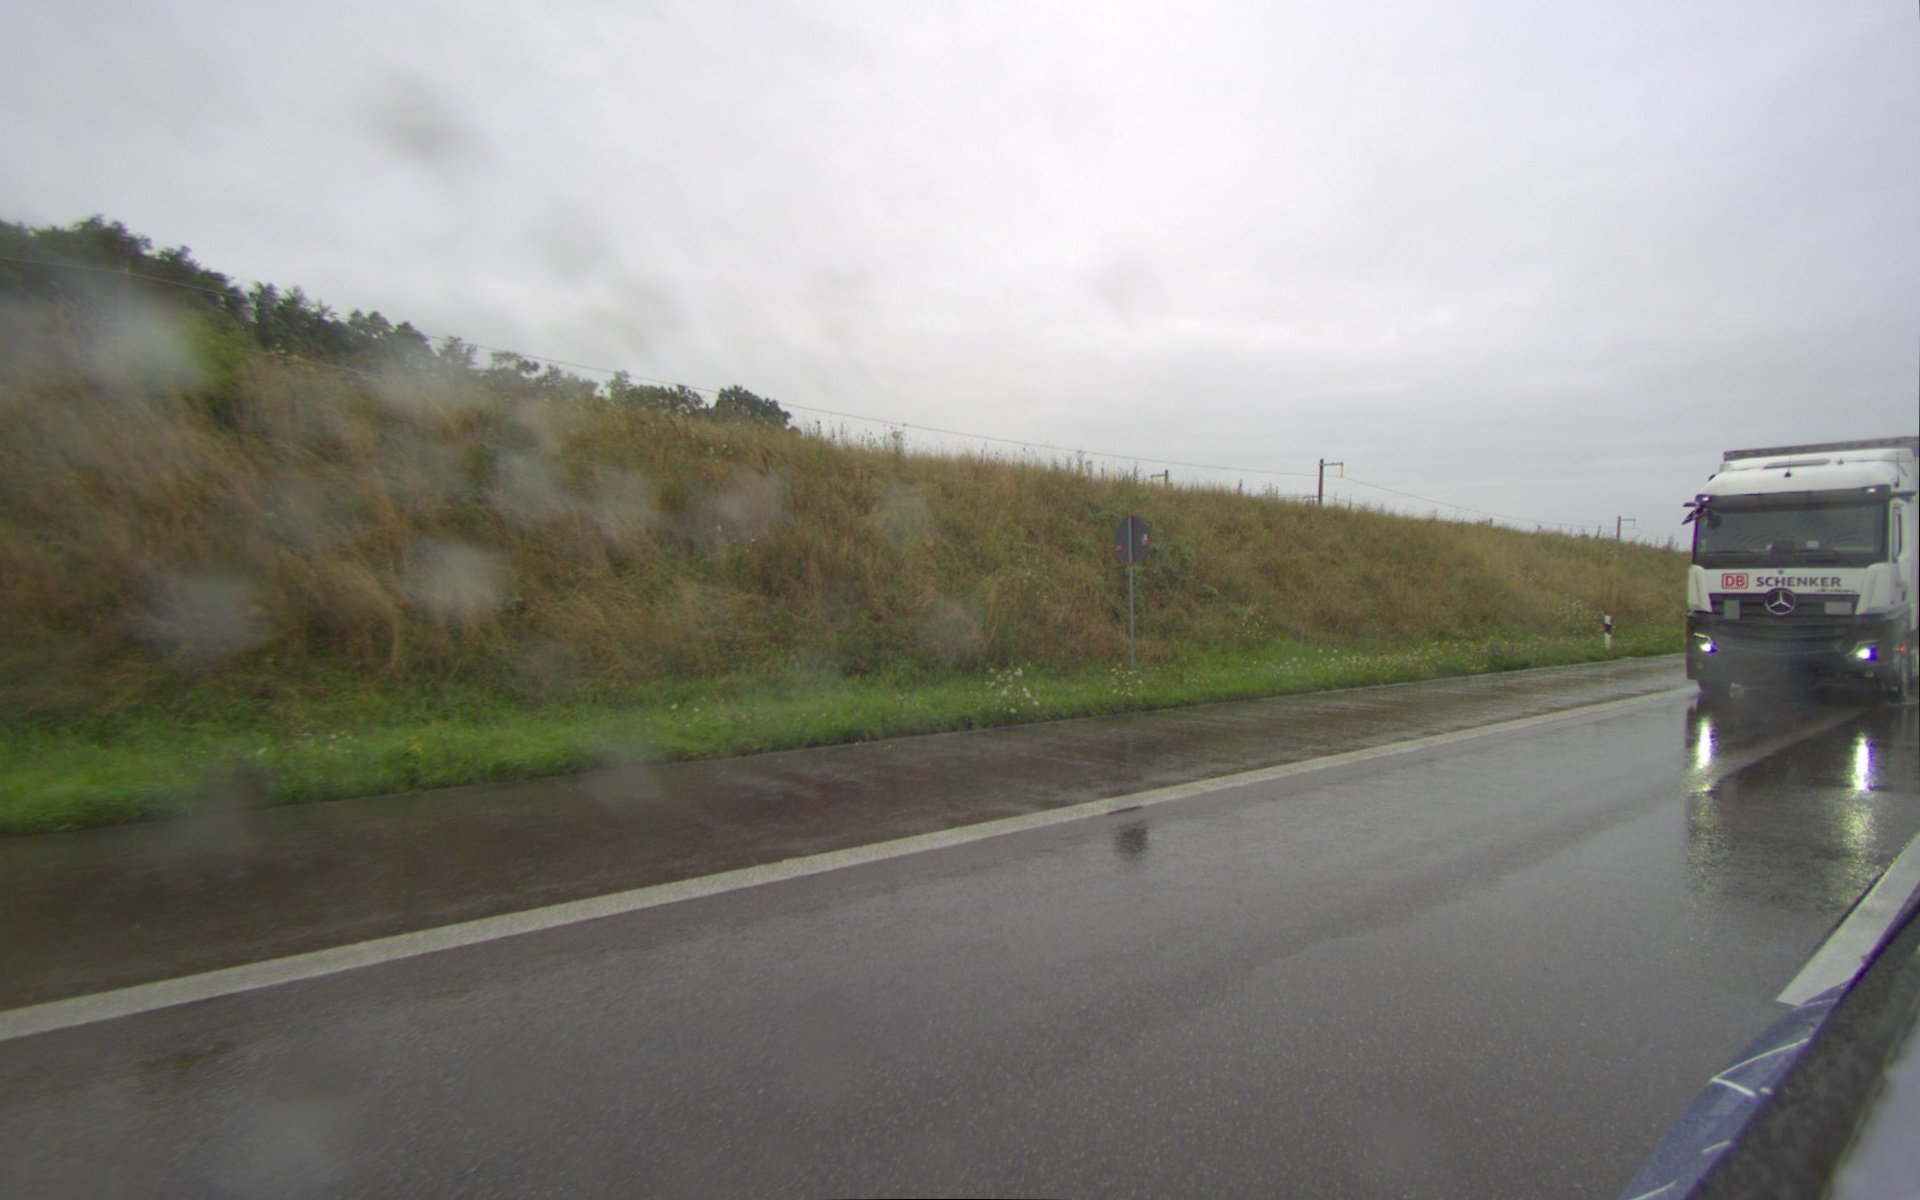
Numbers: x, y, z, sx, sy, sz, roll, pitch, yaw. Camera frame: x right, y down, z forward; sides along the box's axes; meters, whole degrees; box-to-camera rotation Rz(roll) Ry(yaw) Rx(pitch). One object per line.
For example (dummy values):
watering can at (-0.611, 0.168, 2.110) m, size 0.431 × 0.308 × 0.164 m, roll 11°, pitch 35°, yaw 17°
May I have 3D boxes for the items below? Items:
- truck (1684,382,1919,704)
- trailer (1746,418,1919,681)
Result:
truck at (13.823, -0.794, 16.179) m, size 4.956 × 4.307 × 2.630 m, roll -1°, pitch 0°, yaw -41°
trailer at (20.302, -0.900, 21.847) m, size 13.929 × 4.302 × 2.631 m, roll -1°, pitch 0°, yaw -41°
